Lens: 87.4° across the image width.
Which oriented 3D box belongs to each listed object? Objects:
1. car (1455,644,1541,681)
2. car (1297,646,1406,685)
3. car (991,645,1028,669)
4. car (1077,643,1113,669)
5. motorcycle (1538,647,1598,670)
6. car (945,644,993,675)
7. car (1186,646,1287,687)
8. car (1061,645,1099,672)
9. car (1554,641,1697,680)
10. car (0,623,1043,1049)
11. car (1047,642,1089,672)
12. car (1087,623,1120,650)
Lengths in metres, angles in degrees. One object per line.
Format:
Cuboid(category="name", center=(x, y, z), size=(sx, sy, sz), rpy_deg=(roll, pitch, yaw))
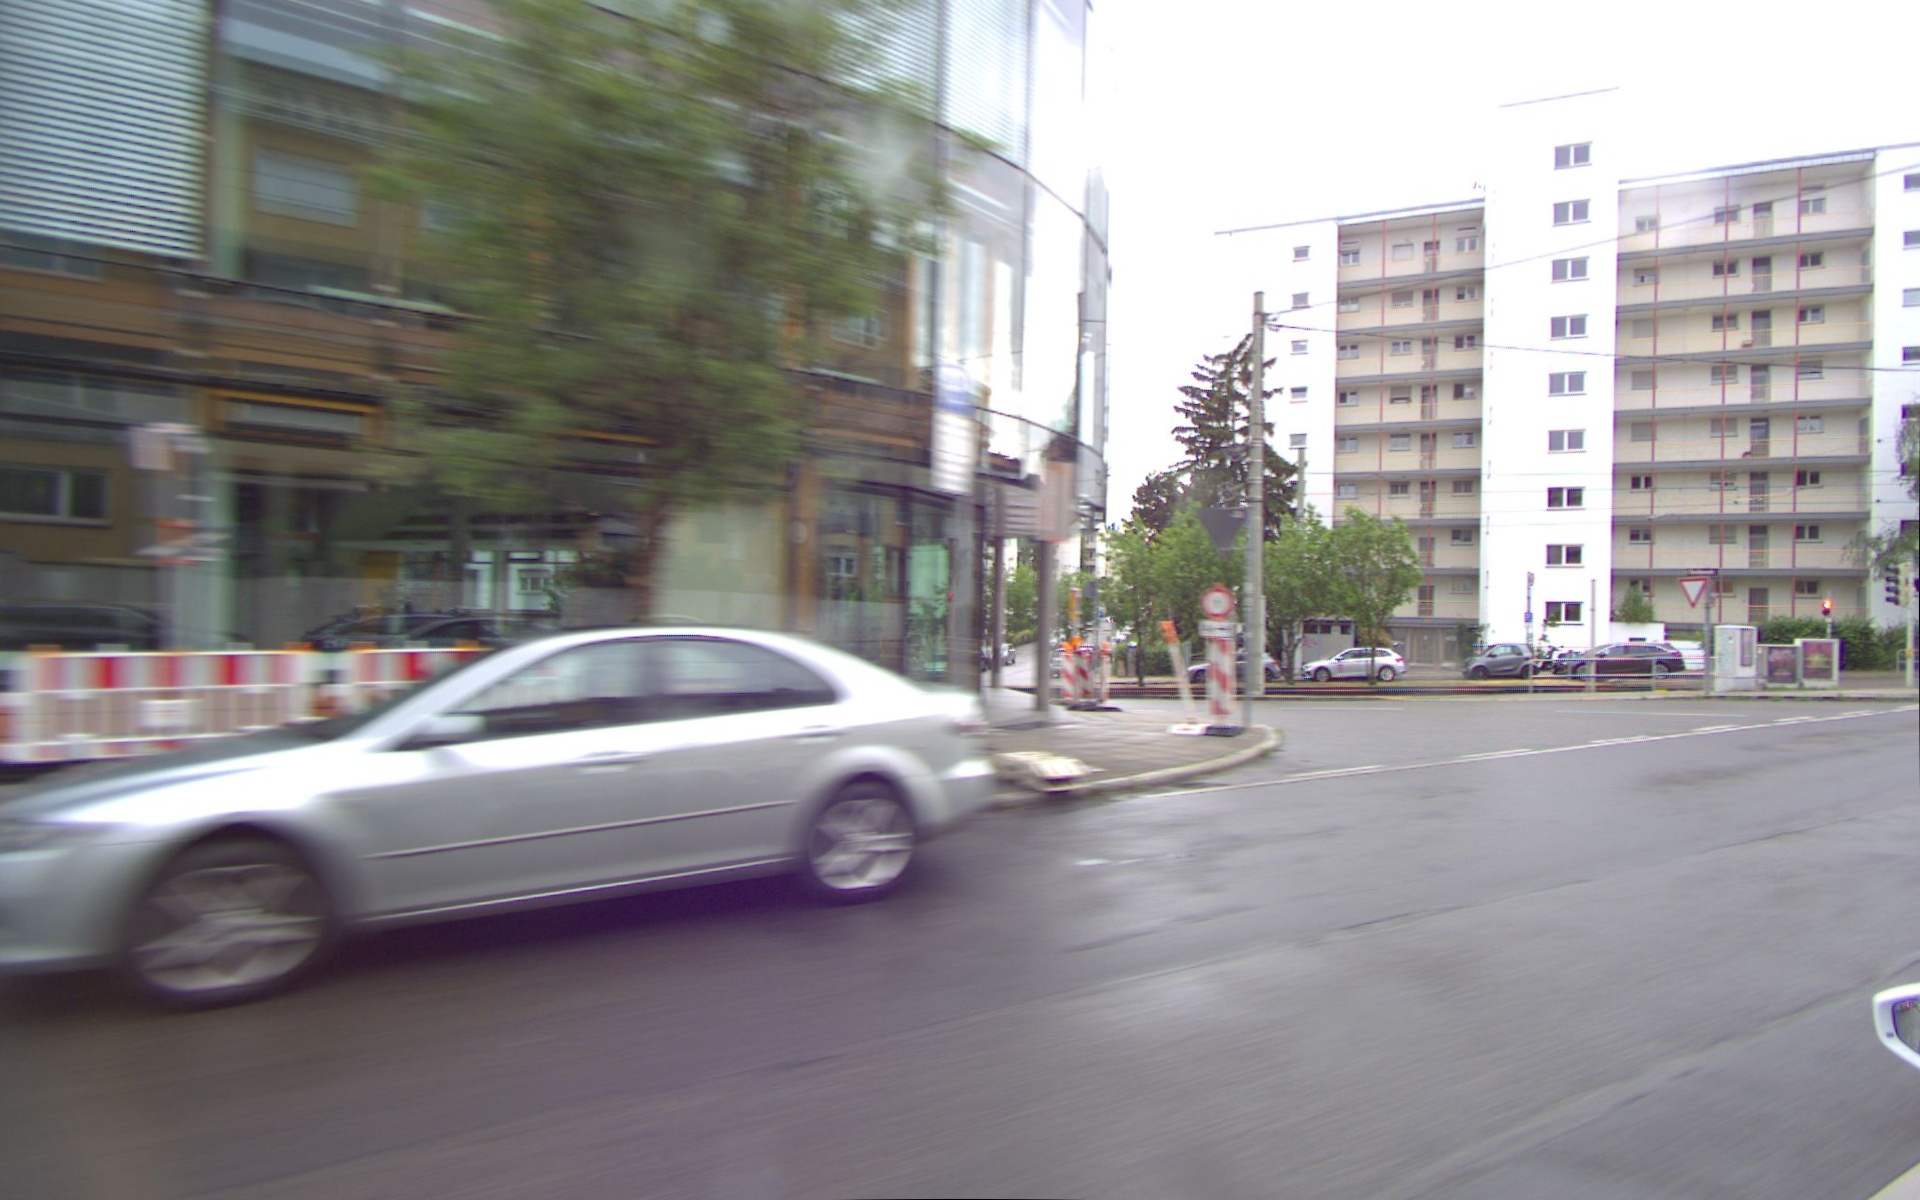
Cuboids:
Cuboid(category="car", center=(22.618, 2.625, 42.311), size=(2.835, 1.411, 1.812), rpy_deg=(-2, -2, 16))
Cuboid(category="car", center=(17.070, 2.850, 44.028), size=(4.226, 1.528, 2.001), rpy_deg=(-2, -1, 16))
Cuboid(category="car", center=(3.799, 4.303, 76.370), size=(1.960, 1.550, 4.002), rpy_deg=(2, -1, 14))
Cuboid(category="car", center=(9.287, 3.840, 69.092), size=(1.960, 1.552, 4.002), rpy_deg=(2, -1, 14))
Cuboid(category="motorcycle", center=(27.405, 2.617, 45.307), size=(2.191, 0.953, 0.779), rpy_deg=(-1, 1, 18))
Cuboid(category="car", center=(0.624, 3.752, 63.595), size=(1.960, 1.684, 4.588), rpy_deg=(2, -1, 14))
Cuboid(category="car", center=(12.410, 2.981, 45.146), size=(4.226, 1.528, 2.001), rpy_deg=(-4, -1, 16))
Cuboid(category="car", center=(7.616, 3.680, 63.313), size=(1.838, 1.461, 4.002), rpy_deg=(2, -1, 14))
Cuboid(category="car", center=(26.961, 2.455, 40.856), size=(4.402, 1.480, 1.876), rpy_deg=(-2, -3, 16))
Cuboid(category="car", center=(-1.958, 0.840, 5.212), size=(4.592, 1.413, 1.848), rpy_deg=(1, -1, -31))
Cuboid(category="car", center=(6.180, 3.229, 57.350), size=(1.789, 1.462, 4.002), rpy_deg=(2, -1, 14))
Cuboid(category="car", center=(10.769, 2.686, 75.171), size=(1.960, 1.924, 4.002), rpy_deg=(2, -1, 14))
